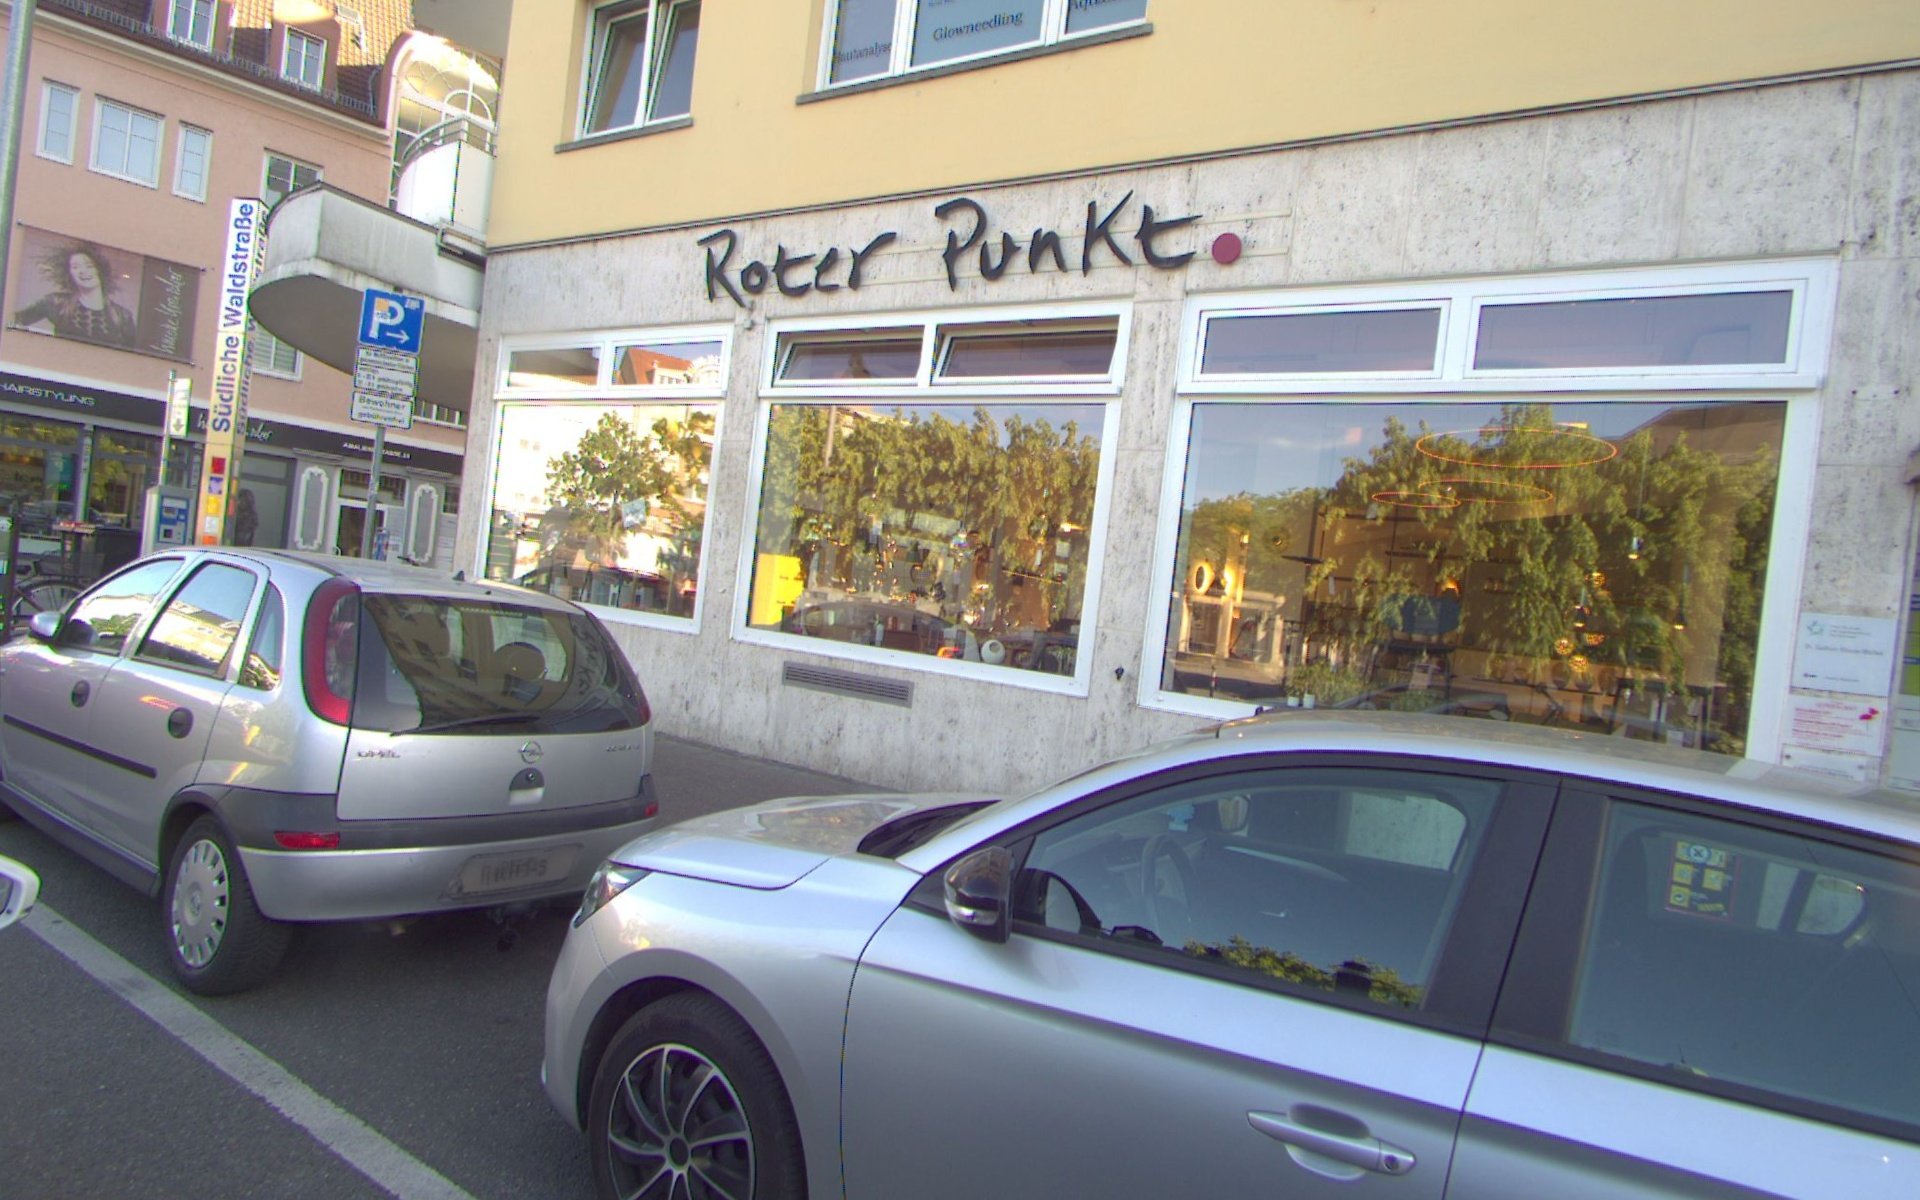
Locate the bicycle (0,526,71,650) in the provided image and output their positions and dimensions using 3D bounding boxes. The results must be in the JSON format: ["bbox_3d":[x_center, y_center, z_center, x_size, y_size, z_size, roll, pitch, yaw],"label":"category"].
[{"bbox_3d":[-9.099,-0.148,8.812,0.408,1.101,1.872,6,1,35],"label":"bicycle"}]

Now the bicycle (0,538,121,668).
[{"bbox_3d":[-8.119,0.000,8.210,0.348,1.051,1.871,6,1,38],"label":"bicycle"}]

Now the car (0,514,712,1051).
[{"bbox_3d":[-2.942,0.497,4.437,3.420,1.407,1.548,6,-1,33],"label":"car"}]

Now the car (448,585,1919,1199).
[{"bbox_3d":[0.739,0.920,2.252,3.598,1.444,1.550,6,-2,30],"label":"car"}]
